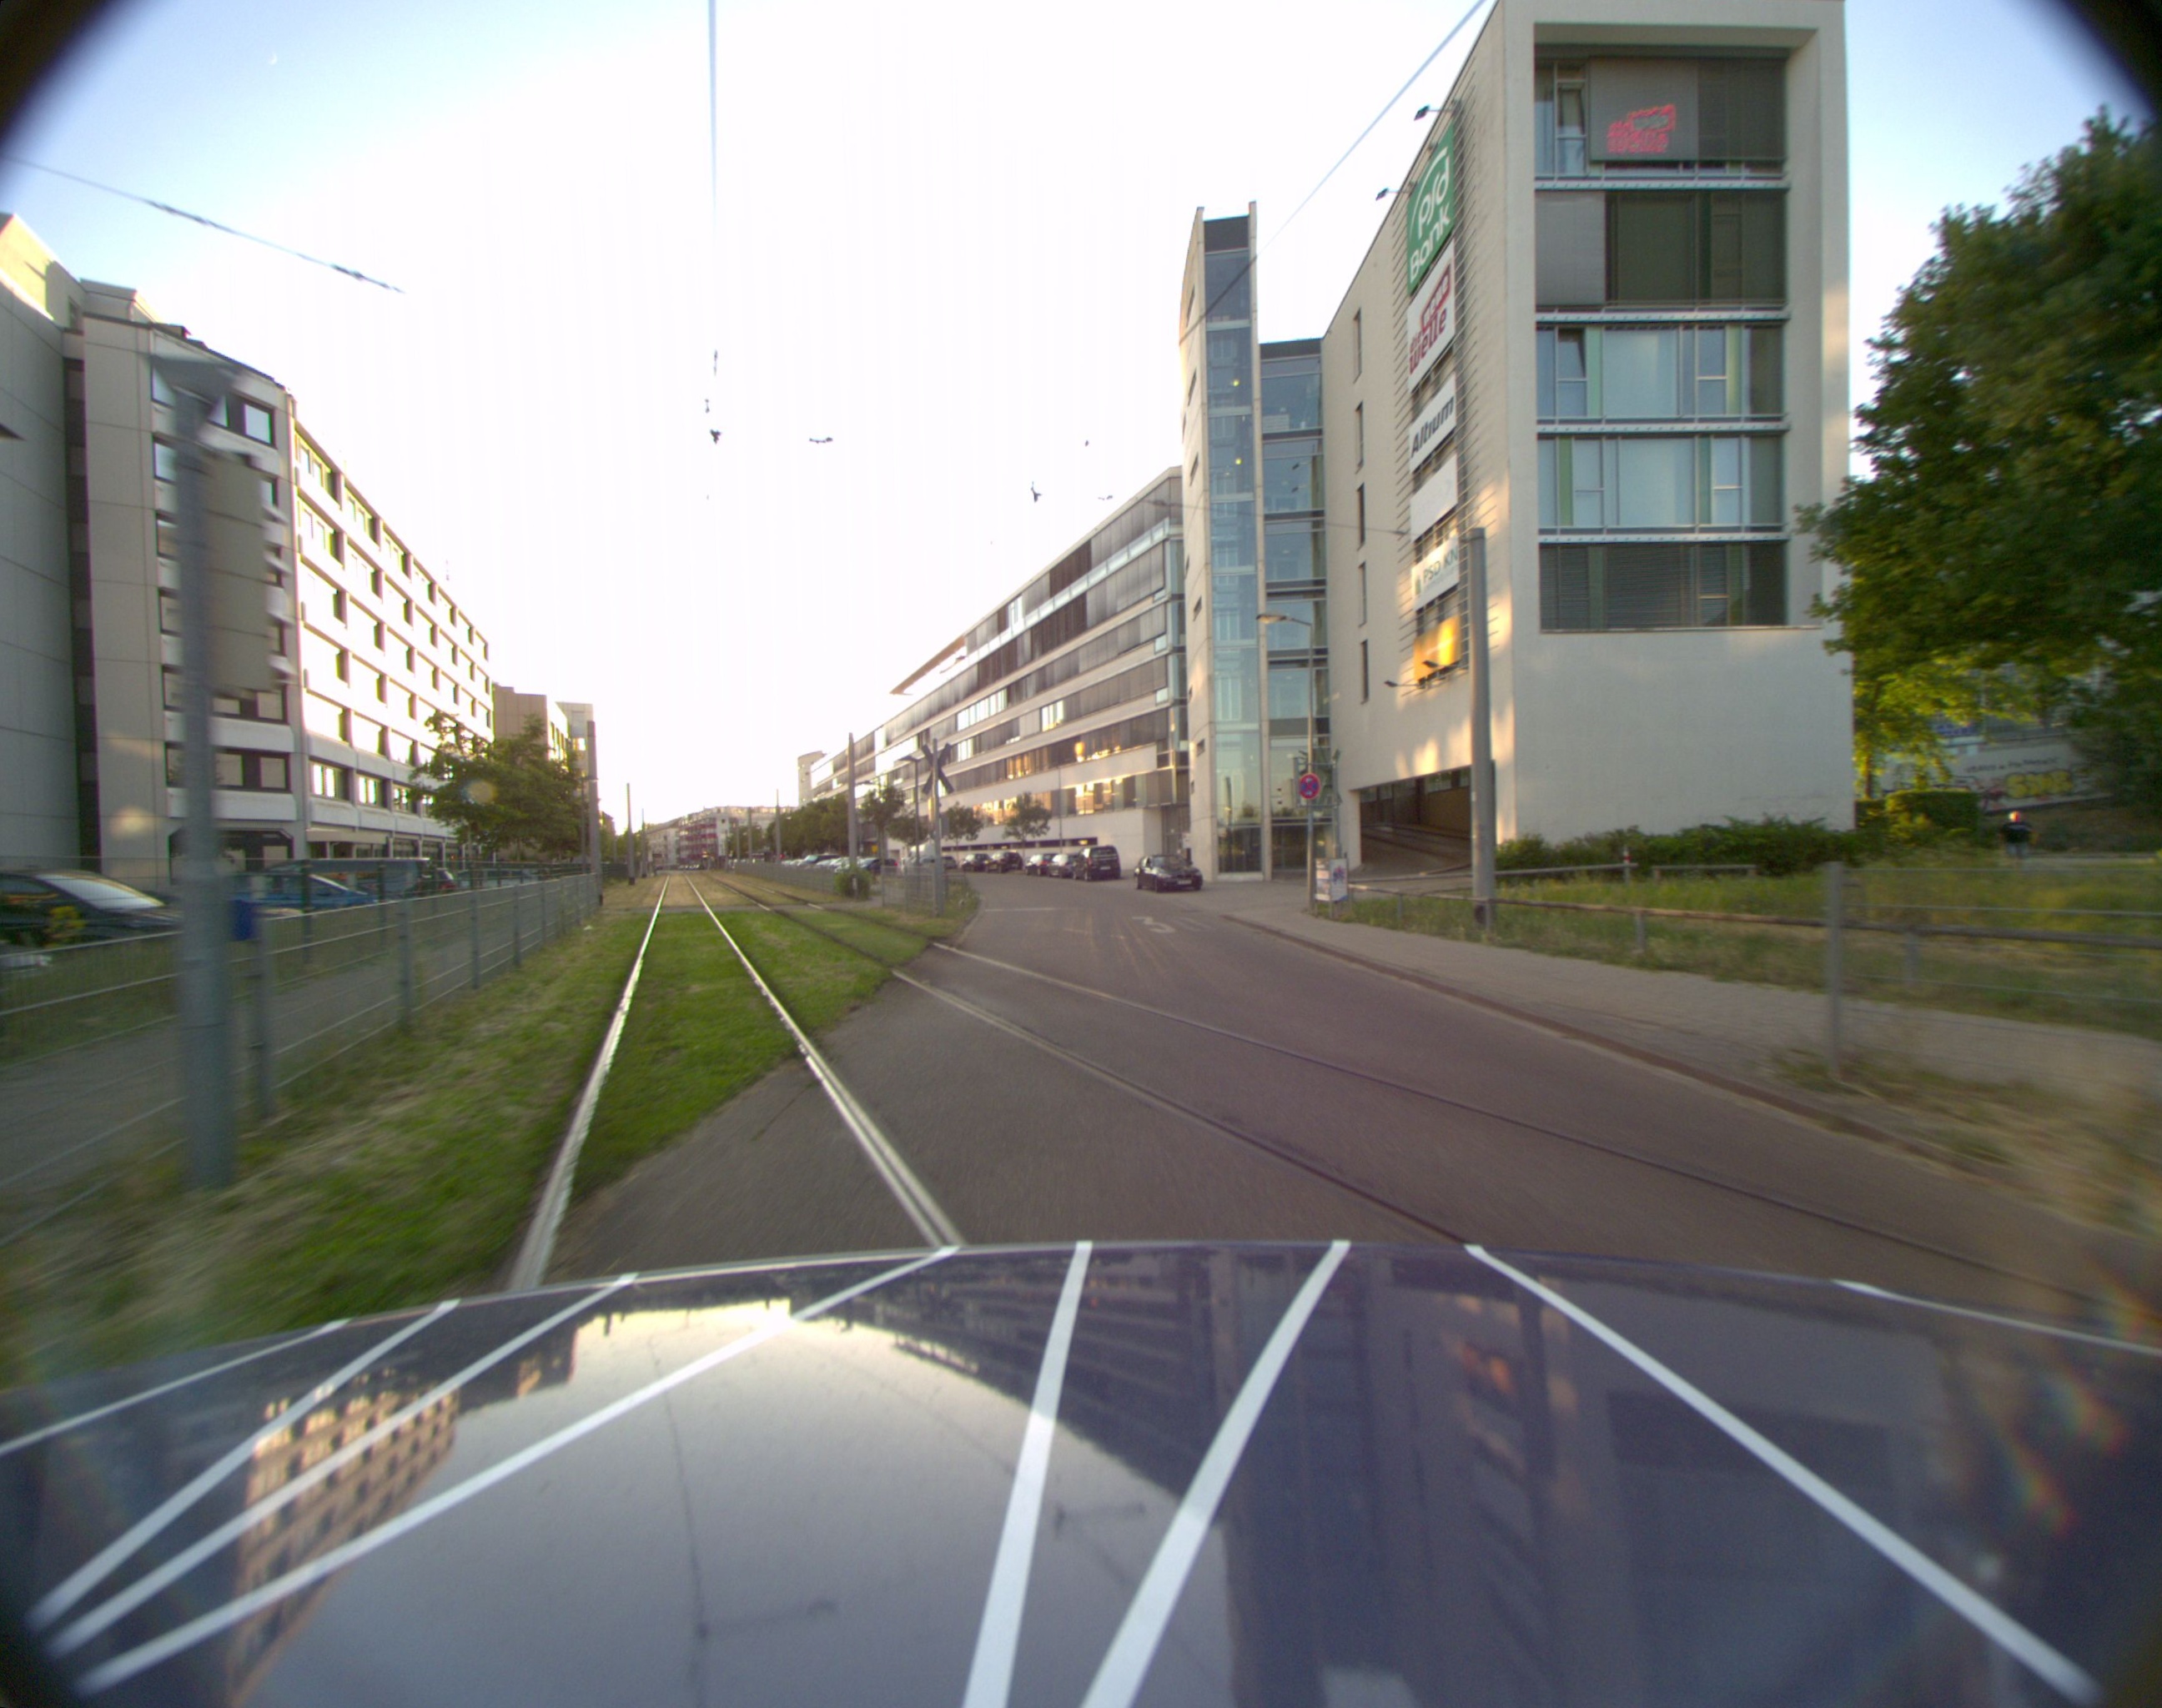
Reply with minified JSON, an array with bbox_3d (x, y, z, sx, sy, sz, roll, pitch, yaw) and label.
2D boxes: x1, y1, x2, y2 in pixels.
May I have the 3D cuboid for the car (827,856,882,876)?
[{"bbox_3d":[-17.110,0.919,57.621,1.714,1.368,4.007,-1,0,25],"label":"car"}]

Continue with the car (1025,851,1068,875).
[{"bbox_3d":[-2.325,0.584,50.015,1.655,1.468,3.759,-1,0,-21],"label":"car"}]

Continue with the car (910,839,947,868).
[{"bbox_3d":[-15.411,0.003,76.594,2.009,2.859,6.242,0,-1,-27],"label":"car"}]

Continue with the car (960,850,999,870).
[{"bbox_3d":[-8.541,0.534,63.723,1.800,1.542,3.991,-4,1,-30],"label":"car"}]

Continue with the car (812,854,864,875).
[{"bbox_3d":[-19.814,0.842,62.058,1.713,1.634,4.007,-1,0,27],"label":"car"}]

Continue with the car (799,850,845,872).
[{"bbox_3d":[-24.927,0.638,73.223,1.713,1.948,4.180,-1,0,27],"label":"car"}]

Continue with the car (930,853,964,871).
[{"bbox_3d":[-12.626,0.767,71.346,1.801,1.692,3.990,0,-1,-33],"label":"car"}]

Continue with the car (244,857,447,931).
[{"bbox_3d":[-22.352,1.136,23.343,4.005,2.002,1.996,-2,1,-26],"label":"car"}]

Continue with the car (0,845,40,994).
[{"bbox_3d":[-16.190,0.922,9.024,4.005,2.002,1.996,-2,0,-24],"label":"car"}]

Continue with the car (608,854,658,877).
[{"bbox_3d":[-42.491,1.055,72.118,4.006,2.002,1.995,-2,0,-30],"label":"car"}]

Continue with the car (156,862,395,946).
[{"bbox_3d":[-21.851,1.289,20.876,4.005,2.002,1.996,-2,0,-26],"label":"car"}]

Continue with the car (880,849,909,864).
[{"bbox_3d":[-19.357,0.284,78.704,1.863,1.488,4.664,2,-1,-27],"label":"car"}]

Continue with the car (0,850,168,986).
[{"bbox_3d":[-17.524,0.993,11.638,4.005,2.002,1.996,-2,0,-24],"label":"car"}]

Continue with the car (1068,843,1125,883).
[{"bbox_3d":[0.749,0.469,40.652,1.896,1.961,4.512,-3,0,-12],"label":"car"}]

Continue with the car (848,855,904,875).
[{"bbox_3d":[-14.696,0.777,54.626,1.714,1.368,4.007,-1,0,25],"label":"car"}]

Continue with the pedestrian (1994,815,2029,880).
[{"bbox_3d":[26.453,-0.181,21.608,0.450,1.826,0.482,-3,1,-22],"label":"pedestrian"}]

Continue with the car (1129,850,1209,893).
[{"bbox_3d":[3.329,0.651,29.633,1.859,1.433,4.224,-3,0,-11],"label":"car"}]

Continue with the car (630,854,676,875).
[{"bbox_3d":[-43.635,1.048,77.541,4.006,2.002,1.995,-2,0,-30],"label":"car"}]

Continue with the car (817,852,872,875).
[{"bbox_3d":[-18.533,0.726,59.678,1.713,1.746,4.007,-1,0,27],"label":"car"}]

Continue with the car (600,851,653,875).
[{"bbox_3d":[-41.415,0.821,69.323,4.006,2.002,1.995,-2,0,-30],"label":"car"}]

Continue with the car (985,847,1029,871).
[{"bbox_3d":[-5.670,0.378,58.088,1.800,1.676,3.990,-2,1,-30],"label":"car"}]

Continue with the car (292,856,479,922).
[{"bbox_3d":[-23.684,1.130,26.126,4.280,2.002,1.996,-2,1,-26],"label":"car"}]

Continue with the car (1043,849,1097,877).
[{"bbox_3d":[-0.701,0.542,45.378,1.868,1.468,4.513,-4,1,-18],"label":"car"}]

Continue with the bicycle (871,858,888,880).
[{"bbox_3d":[-10.841,0.815,40.975,0.542,1.128,1.924,-2,0,-6],"label":"bicycle"}]

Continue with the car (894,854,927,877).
[{"bbox_3d":[-11.441,0.748,50.847,1.633,1.503,3.411,-1,0,-21],"label":"car"}]

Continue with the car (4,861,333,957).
[{"bbox_3d":[-19.202,1.068,16.306,4.005,1.739,1.996,-1,0,-24],"label":"car"}]

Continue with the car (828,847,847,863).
[{"bbox_3d":[-39.265,0.179,122.366,2.003,2.570,3.990,-2,1,-29],"label":"car"}]
